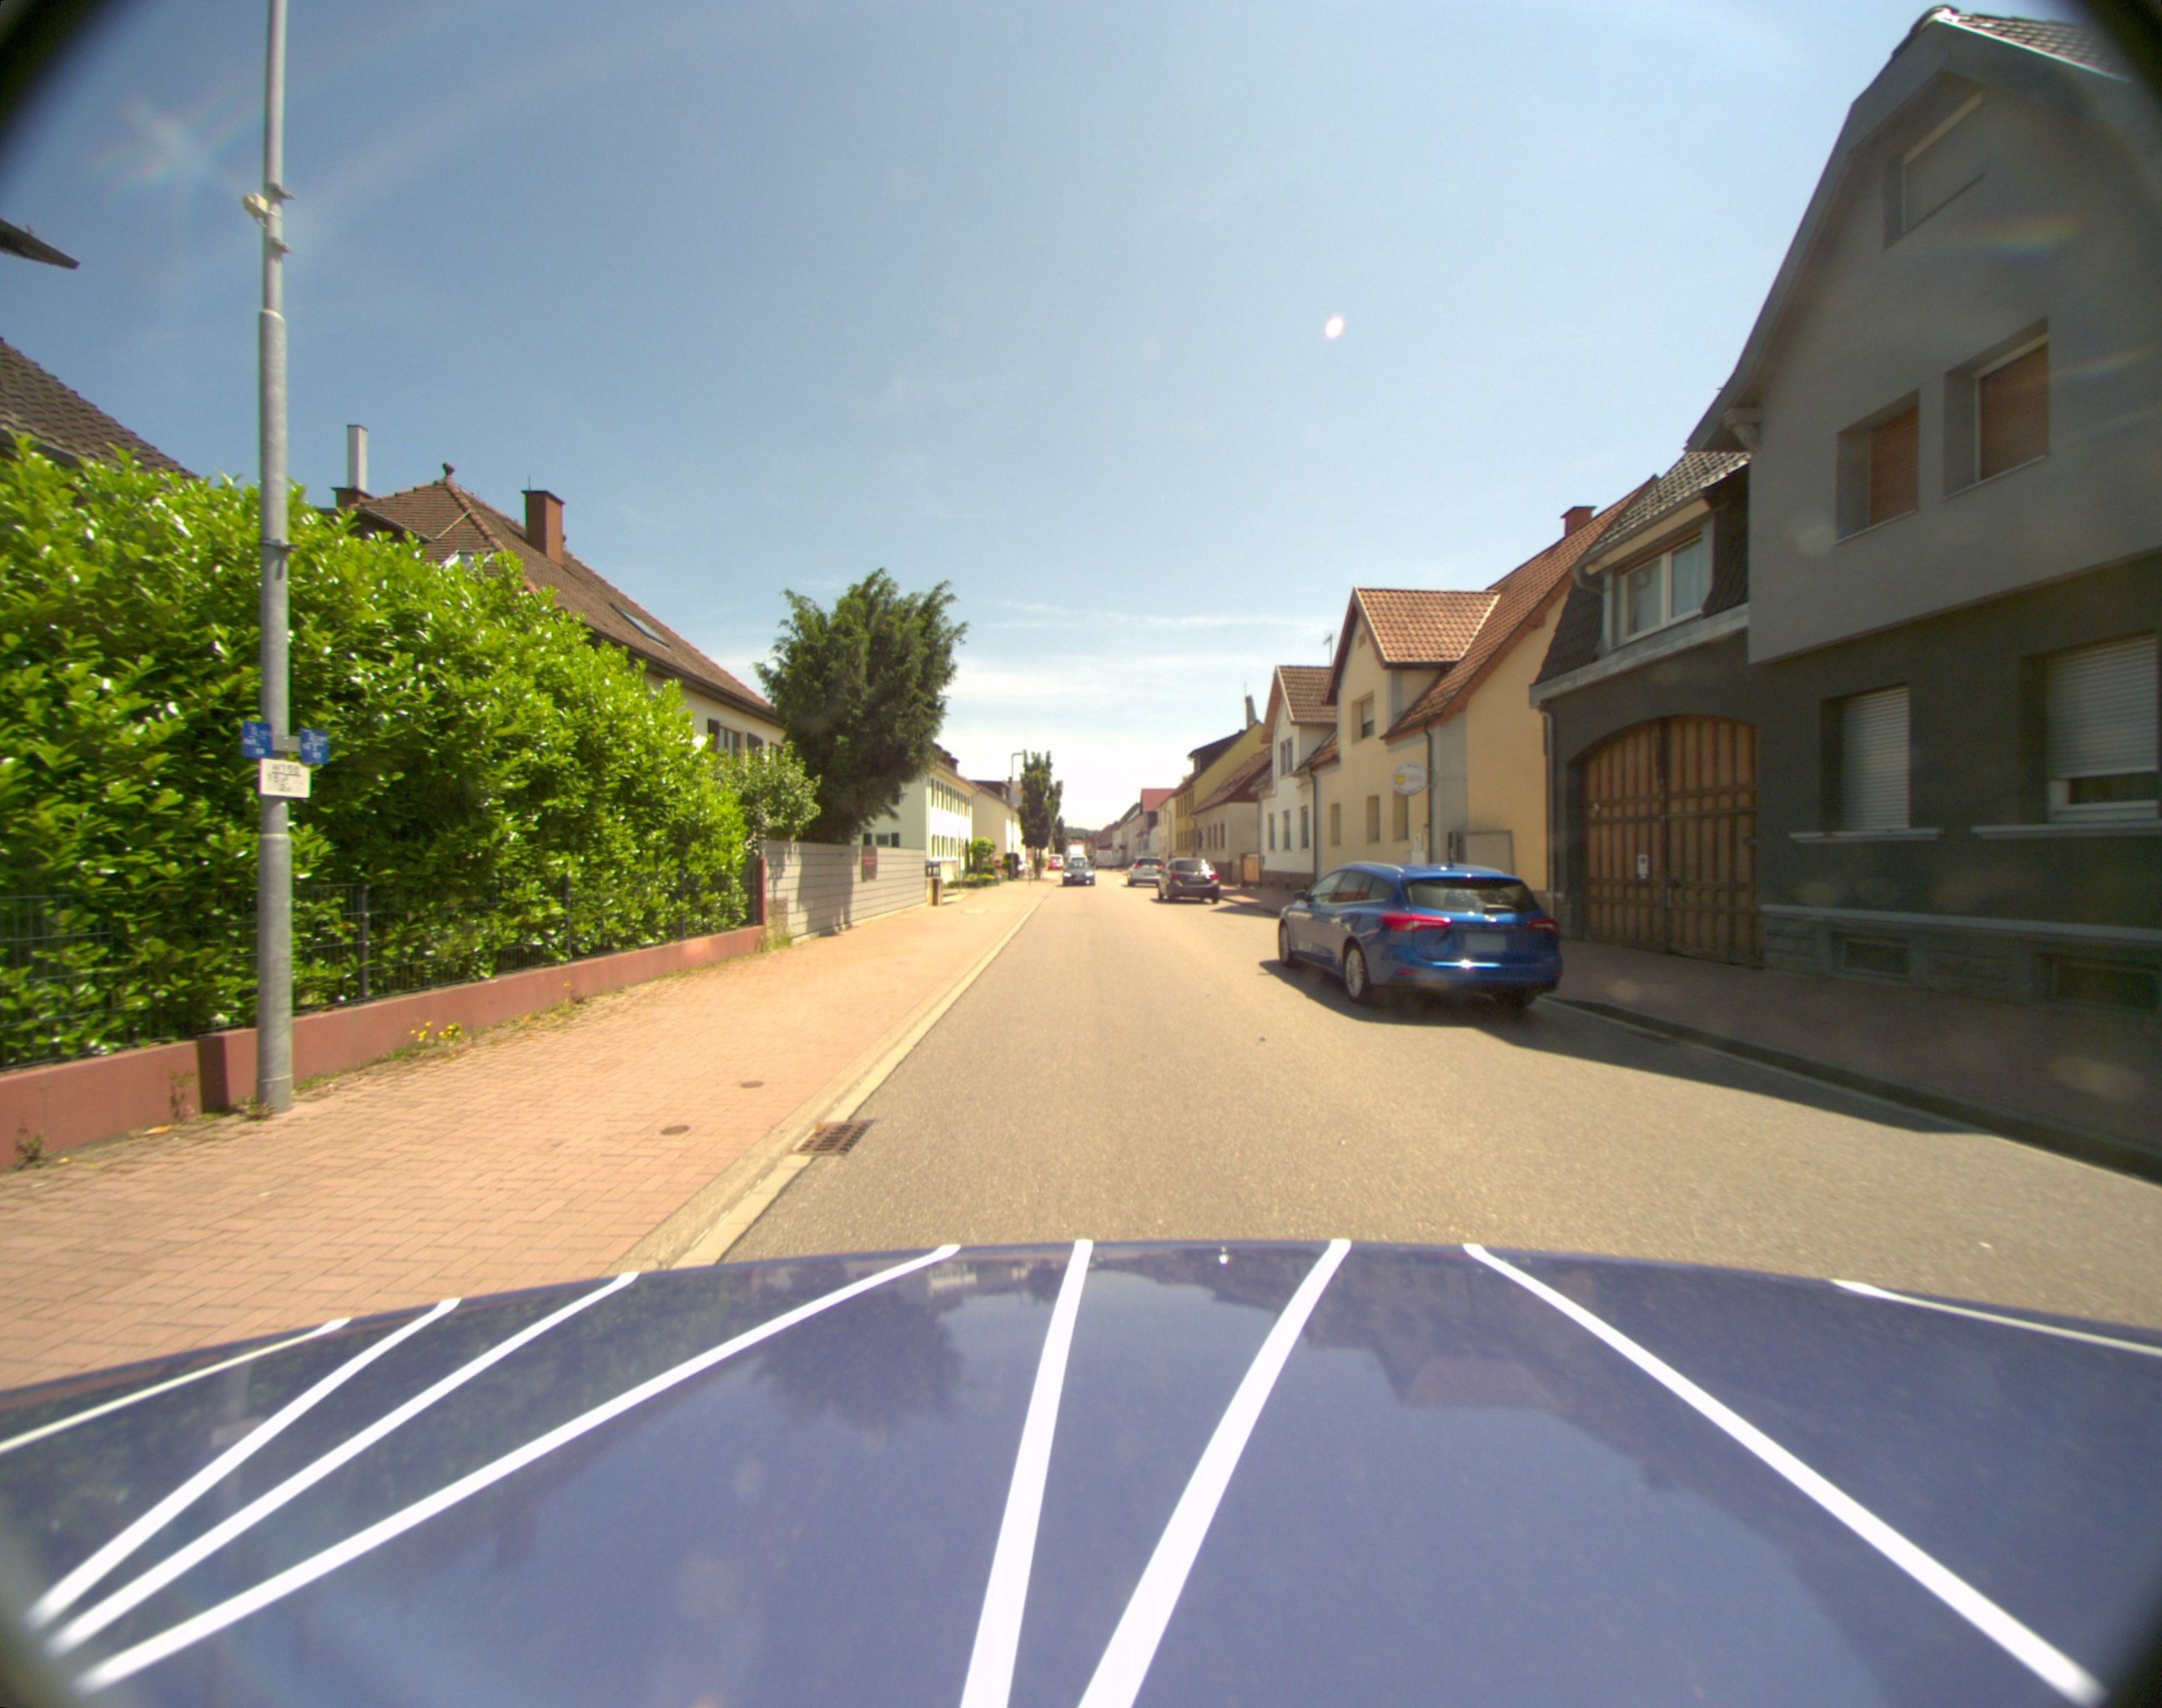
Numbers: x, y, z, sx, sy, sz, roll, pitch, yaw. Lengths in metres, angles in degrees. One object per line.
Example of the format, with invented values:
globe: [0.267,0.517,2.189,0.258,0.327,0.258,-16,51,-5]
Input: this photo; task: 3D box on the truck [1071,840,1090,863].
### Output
truck: [-0.022,-0.320,121.923,2.898,3.516,12.953,0,0,0]

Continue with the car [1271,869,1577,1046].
car: [3.550,0.950,8.861,1.649,1.445,4.401,1,0,1]

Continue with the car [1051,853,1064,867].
car: [-3.088,0.760,100.259,1.637,1.833,3.569,1,0,-1]

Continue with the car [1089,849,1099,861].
car: [2.689,0.244,159.389,1.983,2.502,4.250,2,0,0]

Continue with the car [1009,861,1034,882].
car: [-4.894,1.429,63.289,1.509,1.521,4.437,-2,0,2]

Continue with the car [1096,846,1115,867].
car: [3.093,0.354,98.508,2.116,2.517,4.913,2,0,-1]

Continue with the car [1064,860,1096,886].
car: [-0.064,1.014,42.768,1.705,1.346,4.000,-1,0,0]

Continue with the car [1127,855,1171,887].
car: [3.613,0.895,41.346,1.878,1.594,4.431,2,0,-1]

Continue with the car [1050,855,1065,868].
car: [-2.856,0.933,93.411,1.636,1.572,3.570,1,0,0]

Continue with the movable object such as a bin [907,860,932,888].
movable object such as a bin: [-8.626,1.056,40.702,1.052,1.422,0.901,-3,0,2]

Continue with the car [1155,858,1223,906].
car: [3.619,0.909,26.107,1.681,1.450,3.928,1,0,-1]

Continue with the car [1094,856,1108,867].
car: [3.083,1.090,116.840,1.983,1.624,4.251,2,0,1]

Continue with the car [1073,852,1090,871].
car: [0.060,0.735,76.278,1.636,1.833,3.570,0,0,1]
